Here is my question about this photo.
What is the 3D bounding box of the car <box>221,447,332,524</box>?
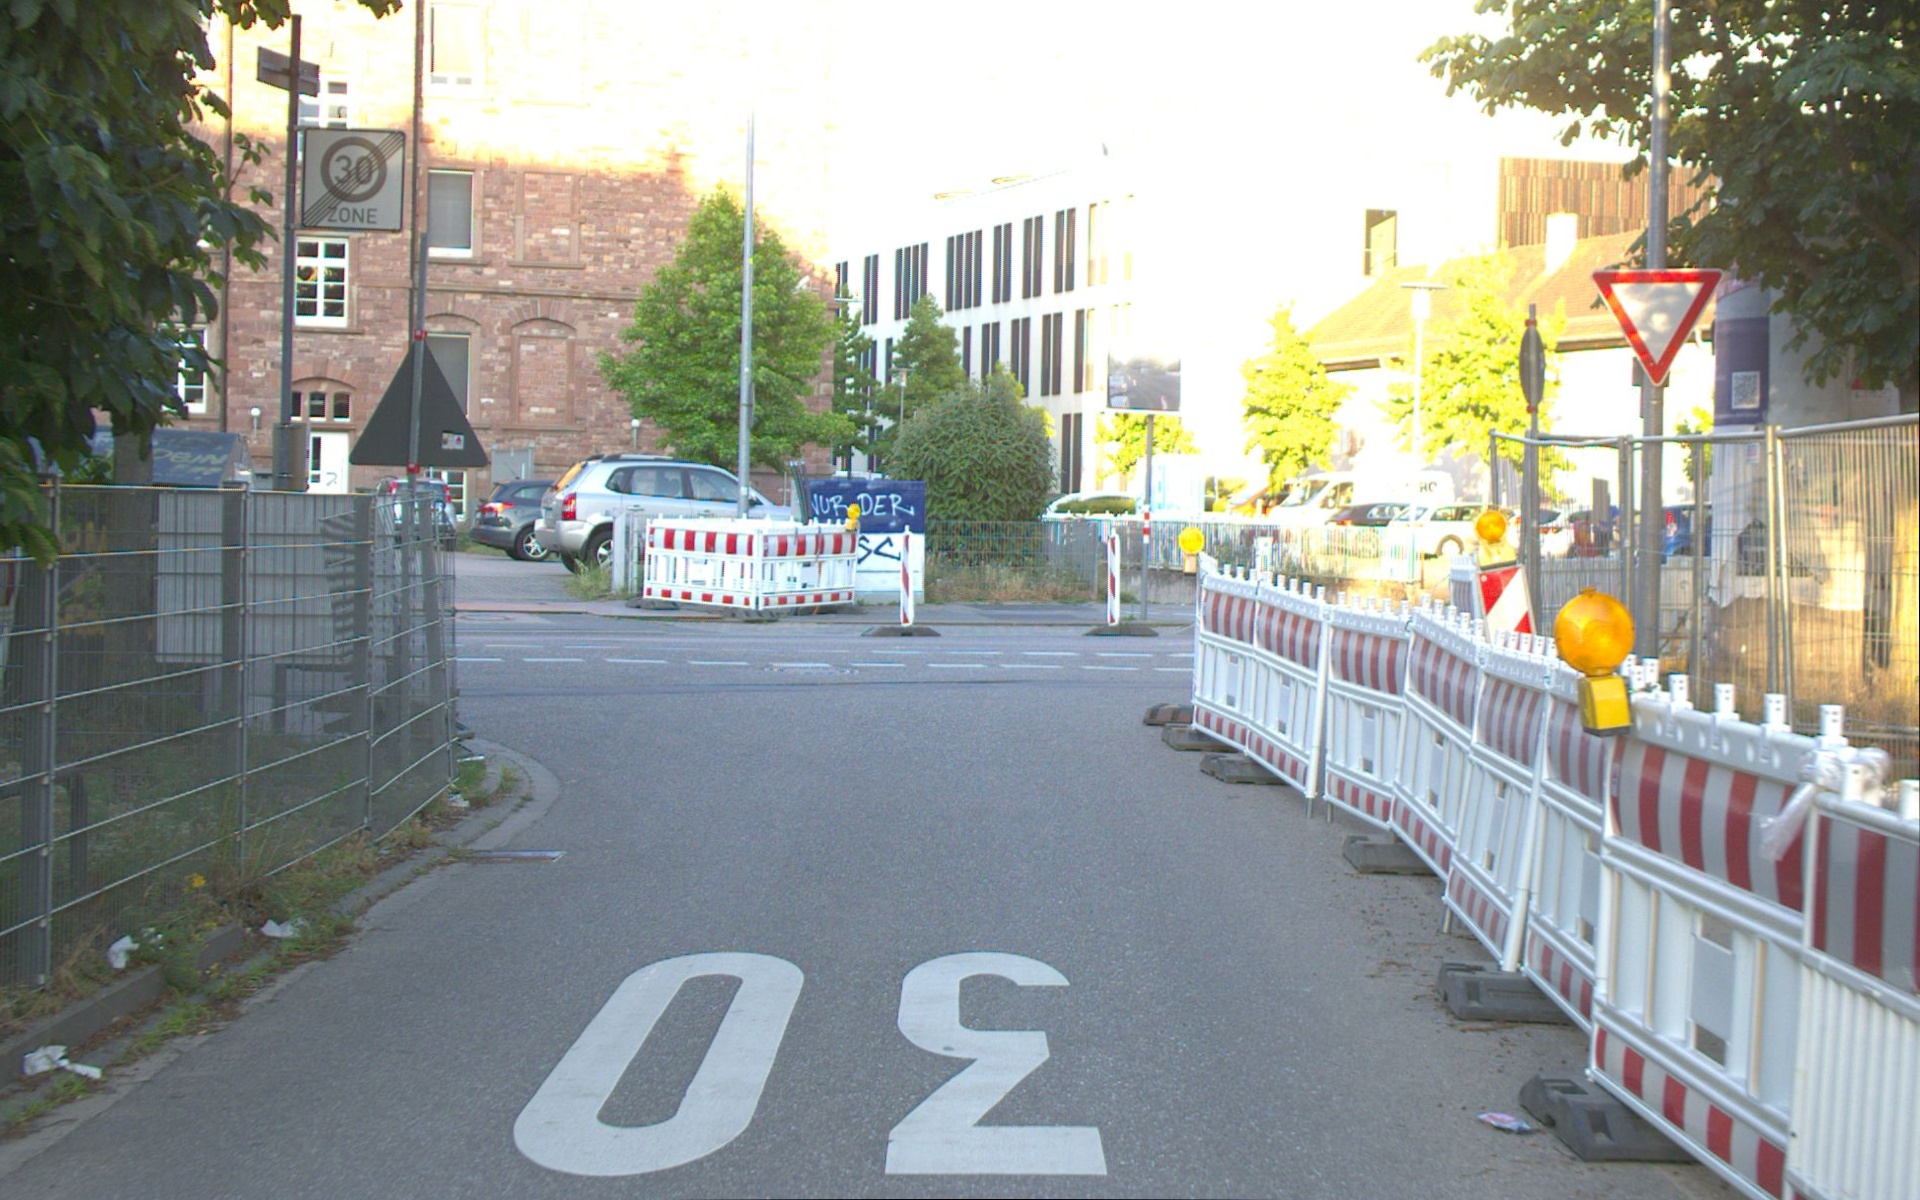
[{"bbox_3d":[-14.416,-2.420,72.390,1.896,1.532,4.181,1,2,-17],"label":"car"}]

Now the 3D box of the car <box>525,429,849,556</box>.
[{"bbox_3d":[-3.864,-1.513,48.518,4.268,1.703,1.703,0,2,-18],"label":"car"}]

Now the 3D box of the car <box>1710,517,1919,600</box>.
[{"bbox_3d":[17.302,-0.830,68.804,3.986,1.567,2.001,1,1,-20],"label":"car"}]

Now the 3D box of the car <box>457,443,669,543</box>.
[{"bbox_3d":[-7.101,-1.908,61.404,3.474,1.703,1.669,0,2,-18],"label":"car"}]

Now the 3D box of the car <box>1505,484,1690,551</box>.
[{"bbox_3d":[14.390,-1.858,77.571,3.739,1.440,1.687,1,1,-20],"label":"car"}]

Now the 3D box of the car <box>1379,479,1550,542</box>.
[{"bbox_3d":[12.270,-2.182,83.670,3.739,1.440,1.687,1,1,-20],"label":"car"}]

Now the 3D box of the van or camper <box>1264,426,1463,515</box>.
[{"bbox_3d":[10.690,-3.413,90.995,4.961,2.233,1.687,1,1,-20],"label":"van or camper"}]

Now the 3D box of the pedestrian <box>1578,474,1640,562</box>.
[{"bbox_3d":[12.293,-1.557,65.166,0.749,1.636,1.015,1,1,-16],"label":"pedestrian"}]

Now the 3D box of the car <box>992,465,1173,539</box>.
[{"bbox_3d":[2.796,-2.225,78.452,3.739,1.597,1.687,1,1,-20],"label":"car"}]

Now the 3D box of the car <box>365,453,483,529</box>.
[{"bbox_3d":[-11.400,-2.321,72.935,1.896,1.532,4.181,1,2,-17],"label":"car"}]

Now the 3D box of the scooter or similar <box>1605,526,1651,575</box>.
[{"bbox_3d":[12.472,-0.922,64.221,0.513,0.887,0.806,1,1,-17],"label":"scooter or similar"}]

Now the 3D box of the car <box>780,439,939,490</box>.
[{"bbox_3d":[-2.765,-3.720,94.510,3.986,1.308,1.878,0,2,-18],"label":"car"}]

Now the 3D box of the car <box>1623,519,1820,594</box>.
[{"bbox_3d":[16.198,-0.928,73.176,3.739,1.523,1.687,1,1,-20],"label":"car"}]

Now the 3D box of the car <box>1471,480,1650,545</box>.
[{"bbox_3d":[13.995,-2.043,80.131,3.739,1.440,1.687,1,1,-20],"label":"car"}]

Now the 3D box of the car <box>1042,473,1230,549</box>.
[{"bbox_3d":[3.874,-1.951,75.718,3.739,1.597,1.687,1,1,-20],"label":"car"}]
